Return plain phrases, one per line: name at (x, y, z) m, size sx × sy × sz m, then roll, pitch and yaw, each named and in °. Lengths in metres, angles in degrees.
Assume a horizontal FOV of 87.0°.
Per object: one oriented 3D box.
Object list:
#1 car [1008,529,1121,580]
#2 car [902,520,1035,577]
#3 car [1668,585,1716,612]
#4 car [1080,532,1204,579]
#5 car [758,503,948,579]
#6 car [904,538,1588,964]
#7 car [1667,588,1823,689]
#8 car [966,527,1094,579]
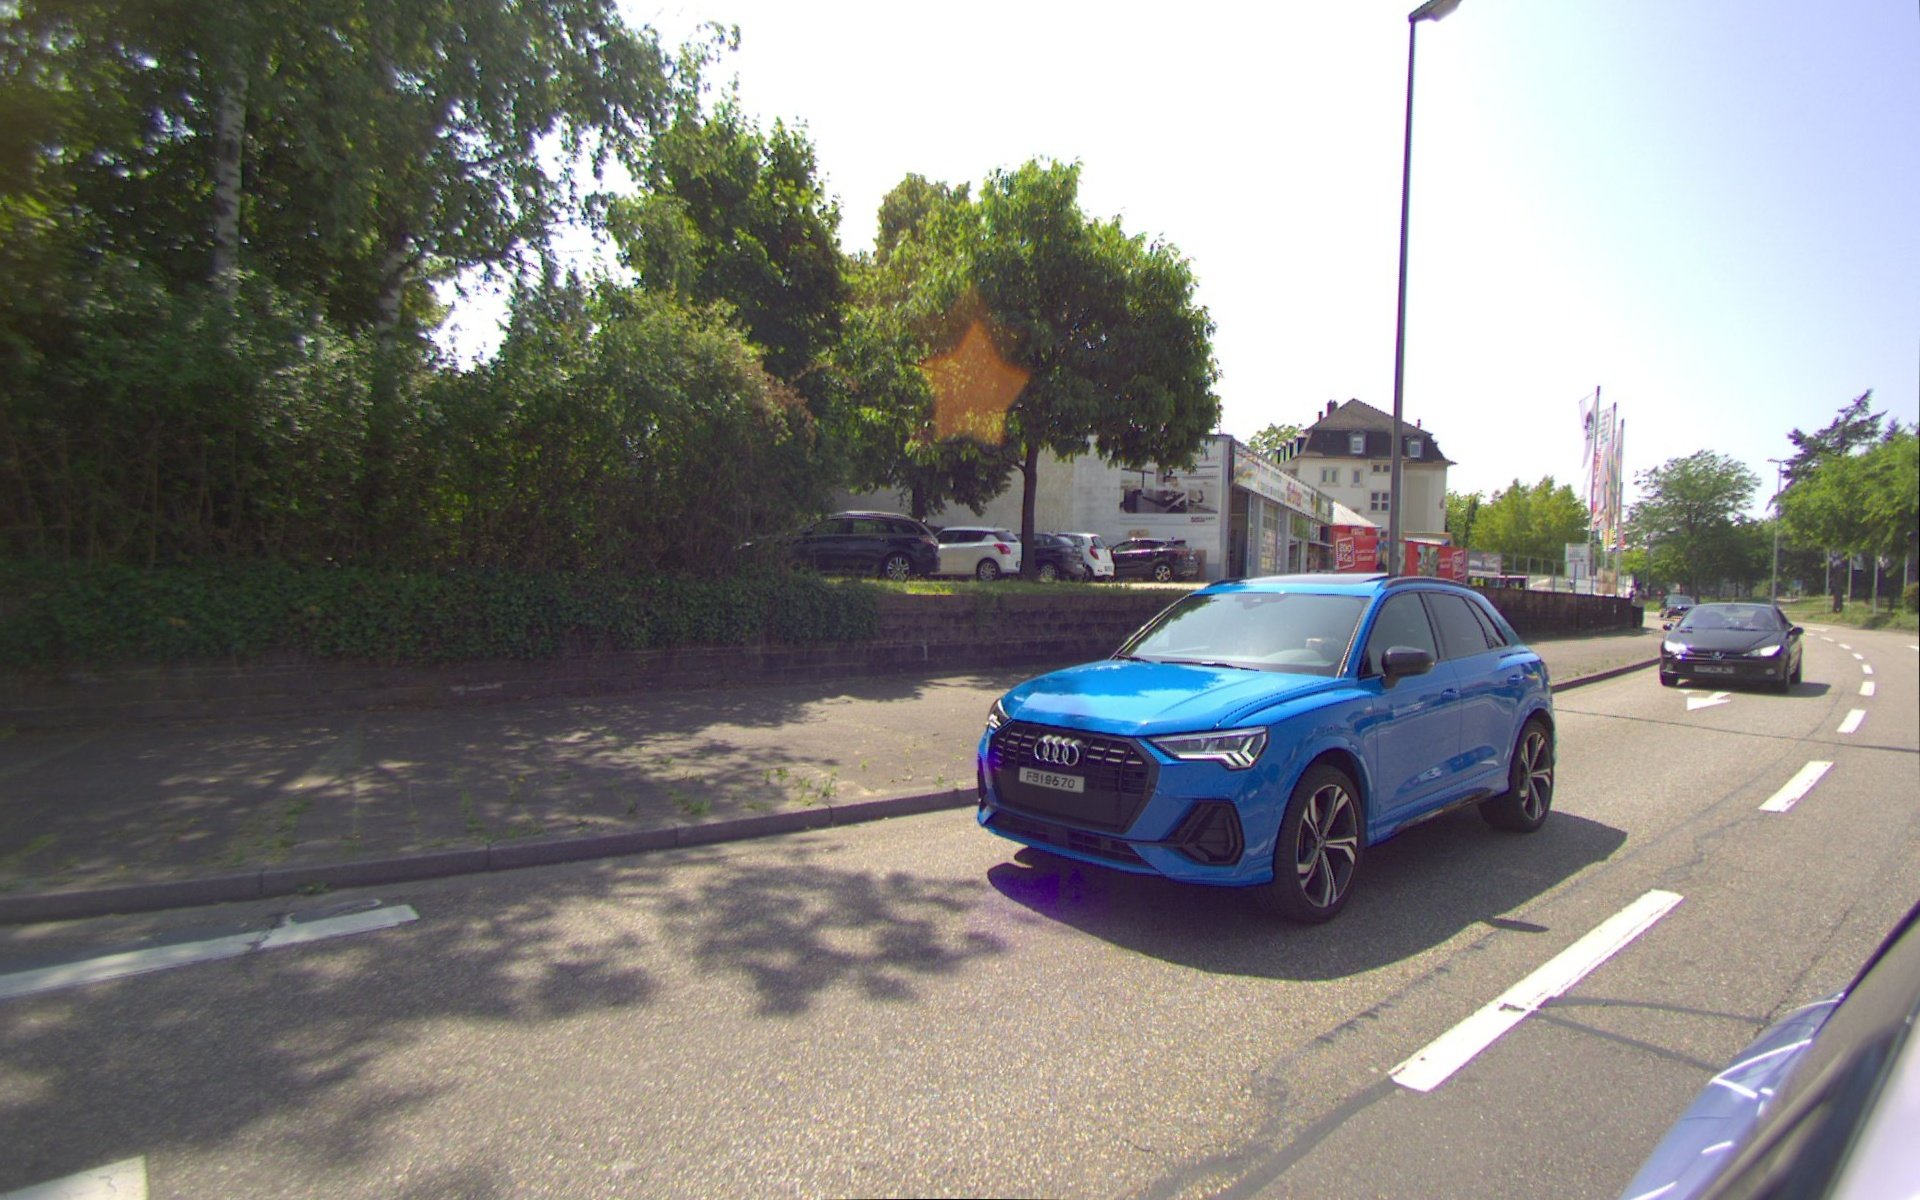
car at (3.217, -1.394, 31.272) m, size 3.133 × 1.490 × 1.485 m, roll 2°, pitch 1°, yaw 34°
car at (0.205, -1.353, 27.077) m, size 3.264 × 1.429 × 1.513 m, roll 1°, pitch 1°, yaw 31°
car at (44.514, -0.130, 61.612) m, size 1.682 × 1.390 × 3.966 m, roll 2°, pitch 4°, yaw 26°
car at (6.428, -1.567, 35.798) m, size 3.967 × 1.559 × 1.720 m, roll 2°, pitch 1°, yaw 31°
car at (-2.335, -1.211, 21.720) m, size 3.768 × 1.502 × 2.004 m, roll 0°, pitch 0°, yaw -15°
car at (1.944, 0.539, 6.014) m, size 4.320 × 1.617 × 1.916 m, roll -1°, pitch 1°, yaw -42°
car at (13.039, 0.551, 16.741) m, size 3.602 × 1.443 × 1.601 m, roll -1°, pitch 2°, yaw -45°
car at (2.000, -1.319, 29.069) m, size 3.294 × 1.403 × 1.641 m, roll 1°, pitch 1°, yaw 31°
